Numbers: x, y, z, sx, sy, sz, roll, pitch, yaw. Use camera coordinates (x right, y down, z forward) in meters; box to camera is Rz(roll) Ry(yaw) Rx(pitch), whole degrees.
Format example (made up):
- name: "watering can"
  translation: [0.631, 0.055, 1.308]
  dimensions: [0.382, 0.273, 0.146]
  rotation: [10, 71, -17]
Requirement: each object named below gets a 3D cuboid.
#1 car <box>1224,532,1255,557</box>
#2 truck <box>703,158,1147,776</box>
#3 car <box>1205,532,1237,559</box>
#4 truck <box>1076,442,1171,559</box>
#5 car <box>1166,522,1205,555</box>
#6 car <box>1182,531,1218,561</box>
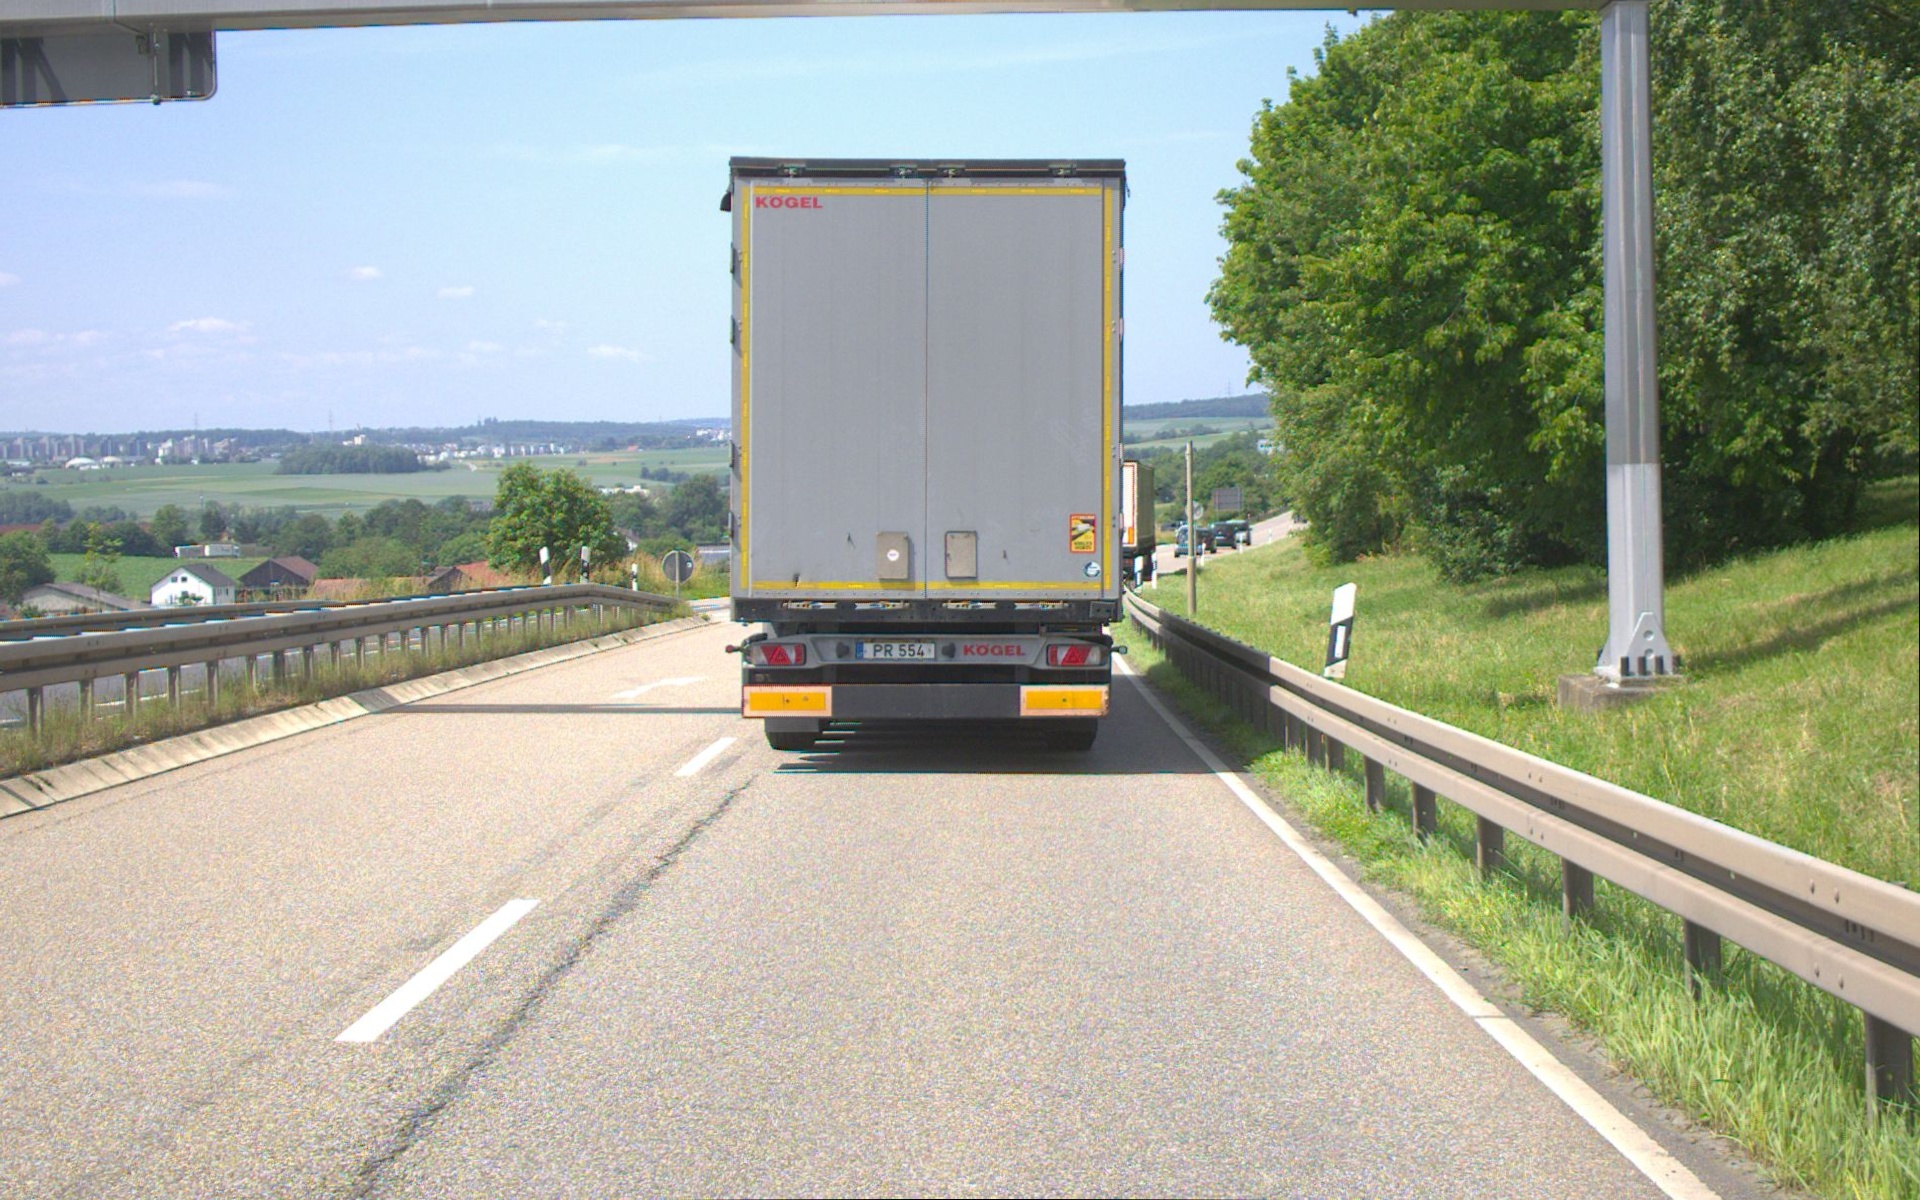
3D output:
- name: "car"
  translation: [19.516, -3.849, 240.066]
  dimensions: [1.786, 1.682, 4.000]
  rotation: [0, 0, 0]
- name: "truck"
  translation: [-0.173, -0.957, 27.586]
  dimensions: [2.799, 3.916, 11.342]
  rotation: [0, 1, 1]
- name: "car"
  translation: [16.728, -3.466, 220.482]
  dimensions: [1.786, 1.682, 4.000]
  rotation: [0, 0, 0]
- name: "truck"
  translation: [5.682, -3.342, 118.137]
  dimensions: [2.656, 3.752, 10.159]
  rotation: [0, 0, 6]
- name: "car"
  translation: [11.798, -3.208, 180.176]
  dimensions: [1.786, 1.682, 4.000]
  rotation: [0, 0, 0]
- name: "car"
  translation: [13.850, -3.114, 198.875]
  dimensions: [1.786, 1.682, 4.000]
  rotation: [0, 0, 0]
